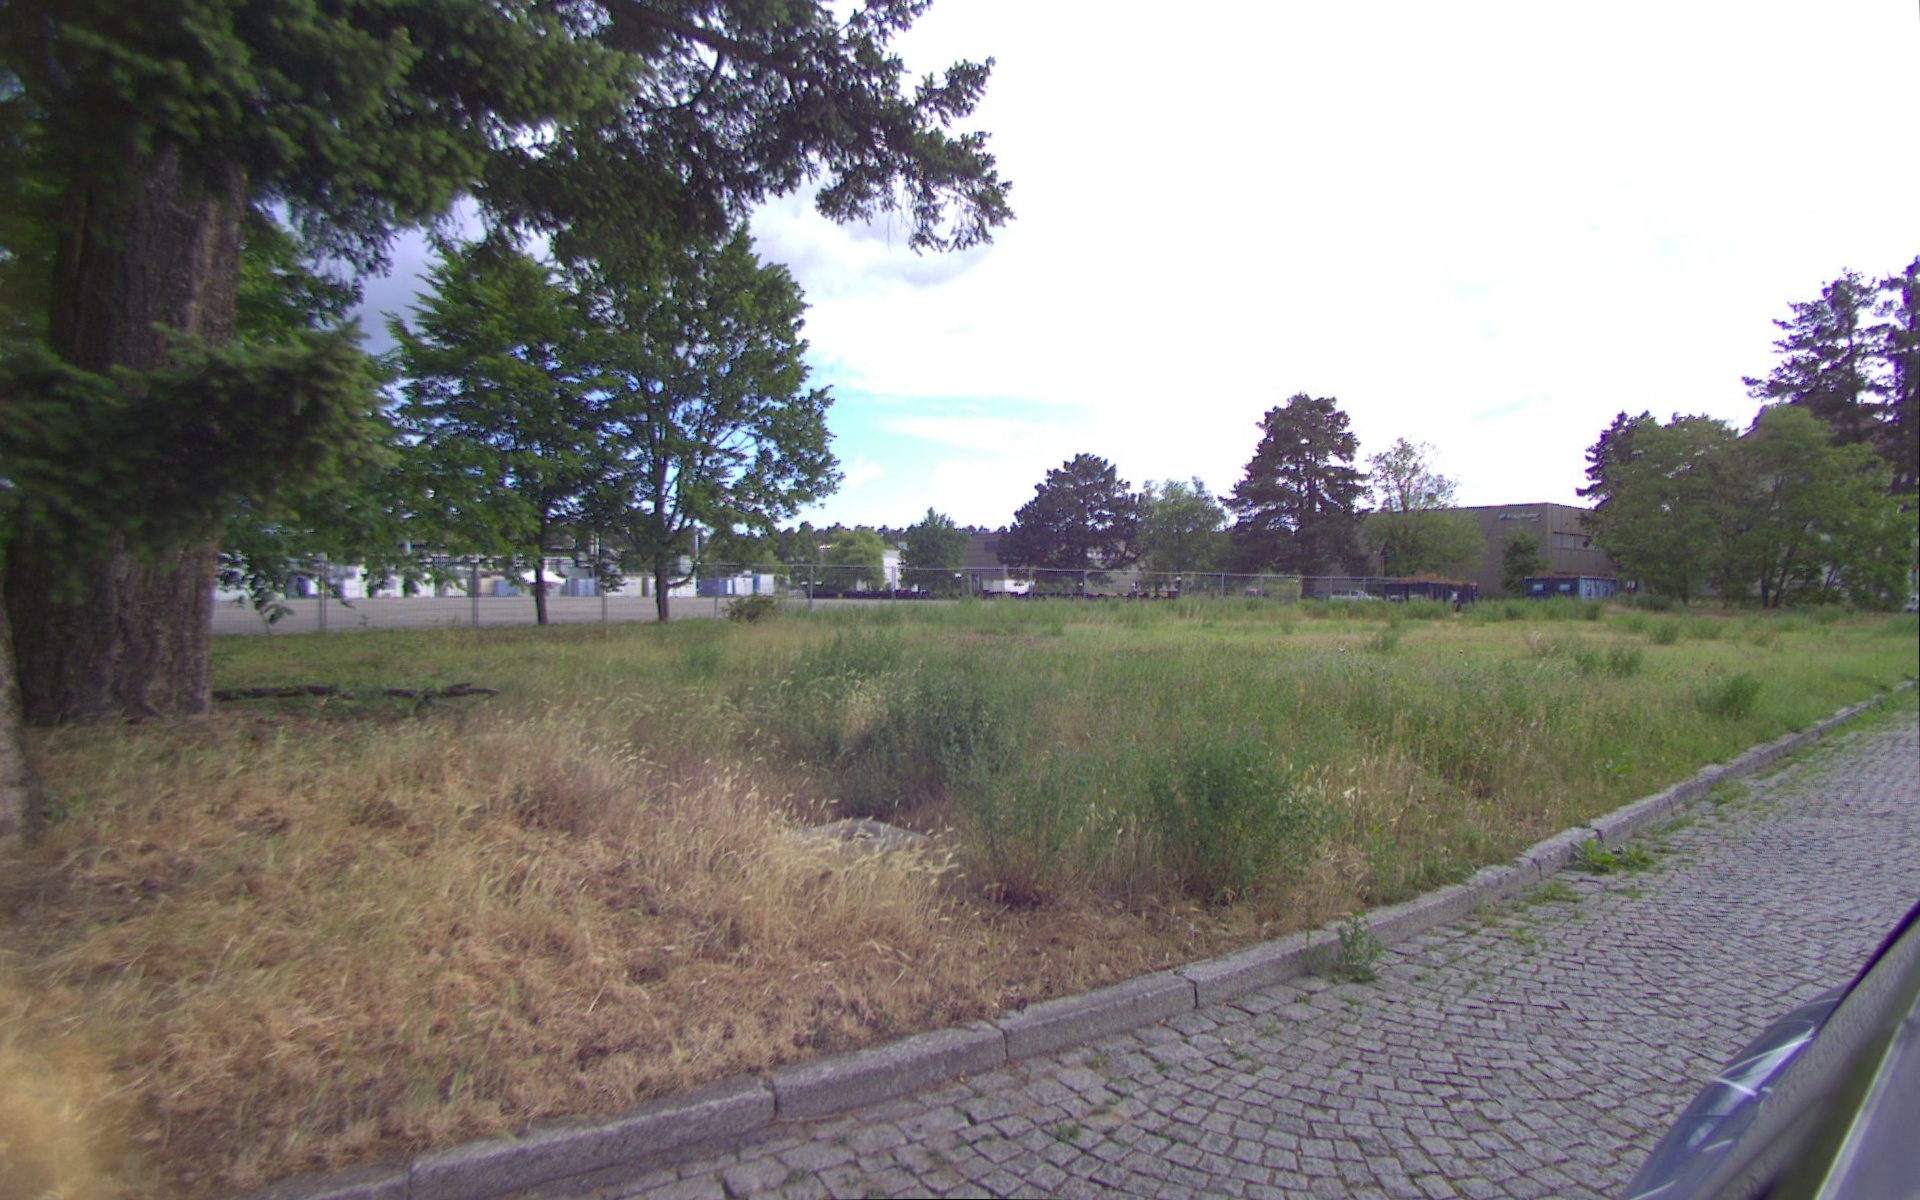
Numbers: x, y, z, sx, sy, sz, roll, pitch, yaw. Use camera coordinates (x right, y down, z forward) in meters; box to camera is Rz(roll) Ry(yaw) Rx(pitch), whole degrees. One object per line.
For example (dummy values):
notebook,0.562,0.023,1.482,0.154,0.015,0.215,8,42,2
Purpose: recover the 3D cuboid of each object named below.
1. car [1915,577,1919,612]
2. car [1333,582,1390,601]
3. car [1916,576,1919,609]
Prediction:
car,44.547,-0.132,44.130,1.774,1.533,4.080,0,4,-42
car,33.568,-0.734,84.728,1.939,1.501,3.991,0,1,-43
car,48.303,-0.240,47.950,1.854,1.615,4.245,-1,4,-44
